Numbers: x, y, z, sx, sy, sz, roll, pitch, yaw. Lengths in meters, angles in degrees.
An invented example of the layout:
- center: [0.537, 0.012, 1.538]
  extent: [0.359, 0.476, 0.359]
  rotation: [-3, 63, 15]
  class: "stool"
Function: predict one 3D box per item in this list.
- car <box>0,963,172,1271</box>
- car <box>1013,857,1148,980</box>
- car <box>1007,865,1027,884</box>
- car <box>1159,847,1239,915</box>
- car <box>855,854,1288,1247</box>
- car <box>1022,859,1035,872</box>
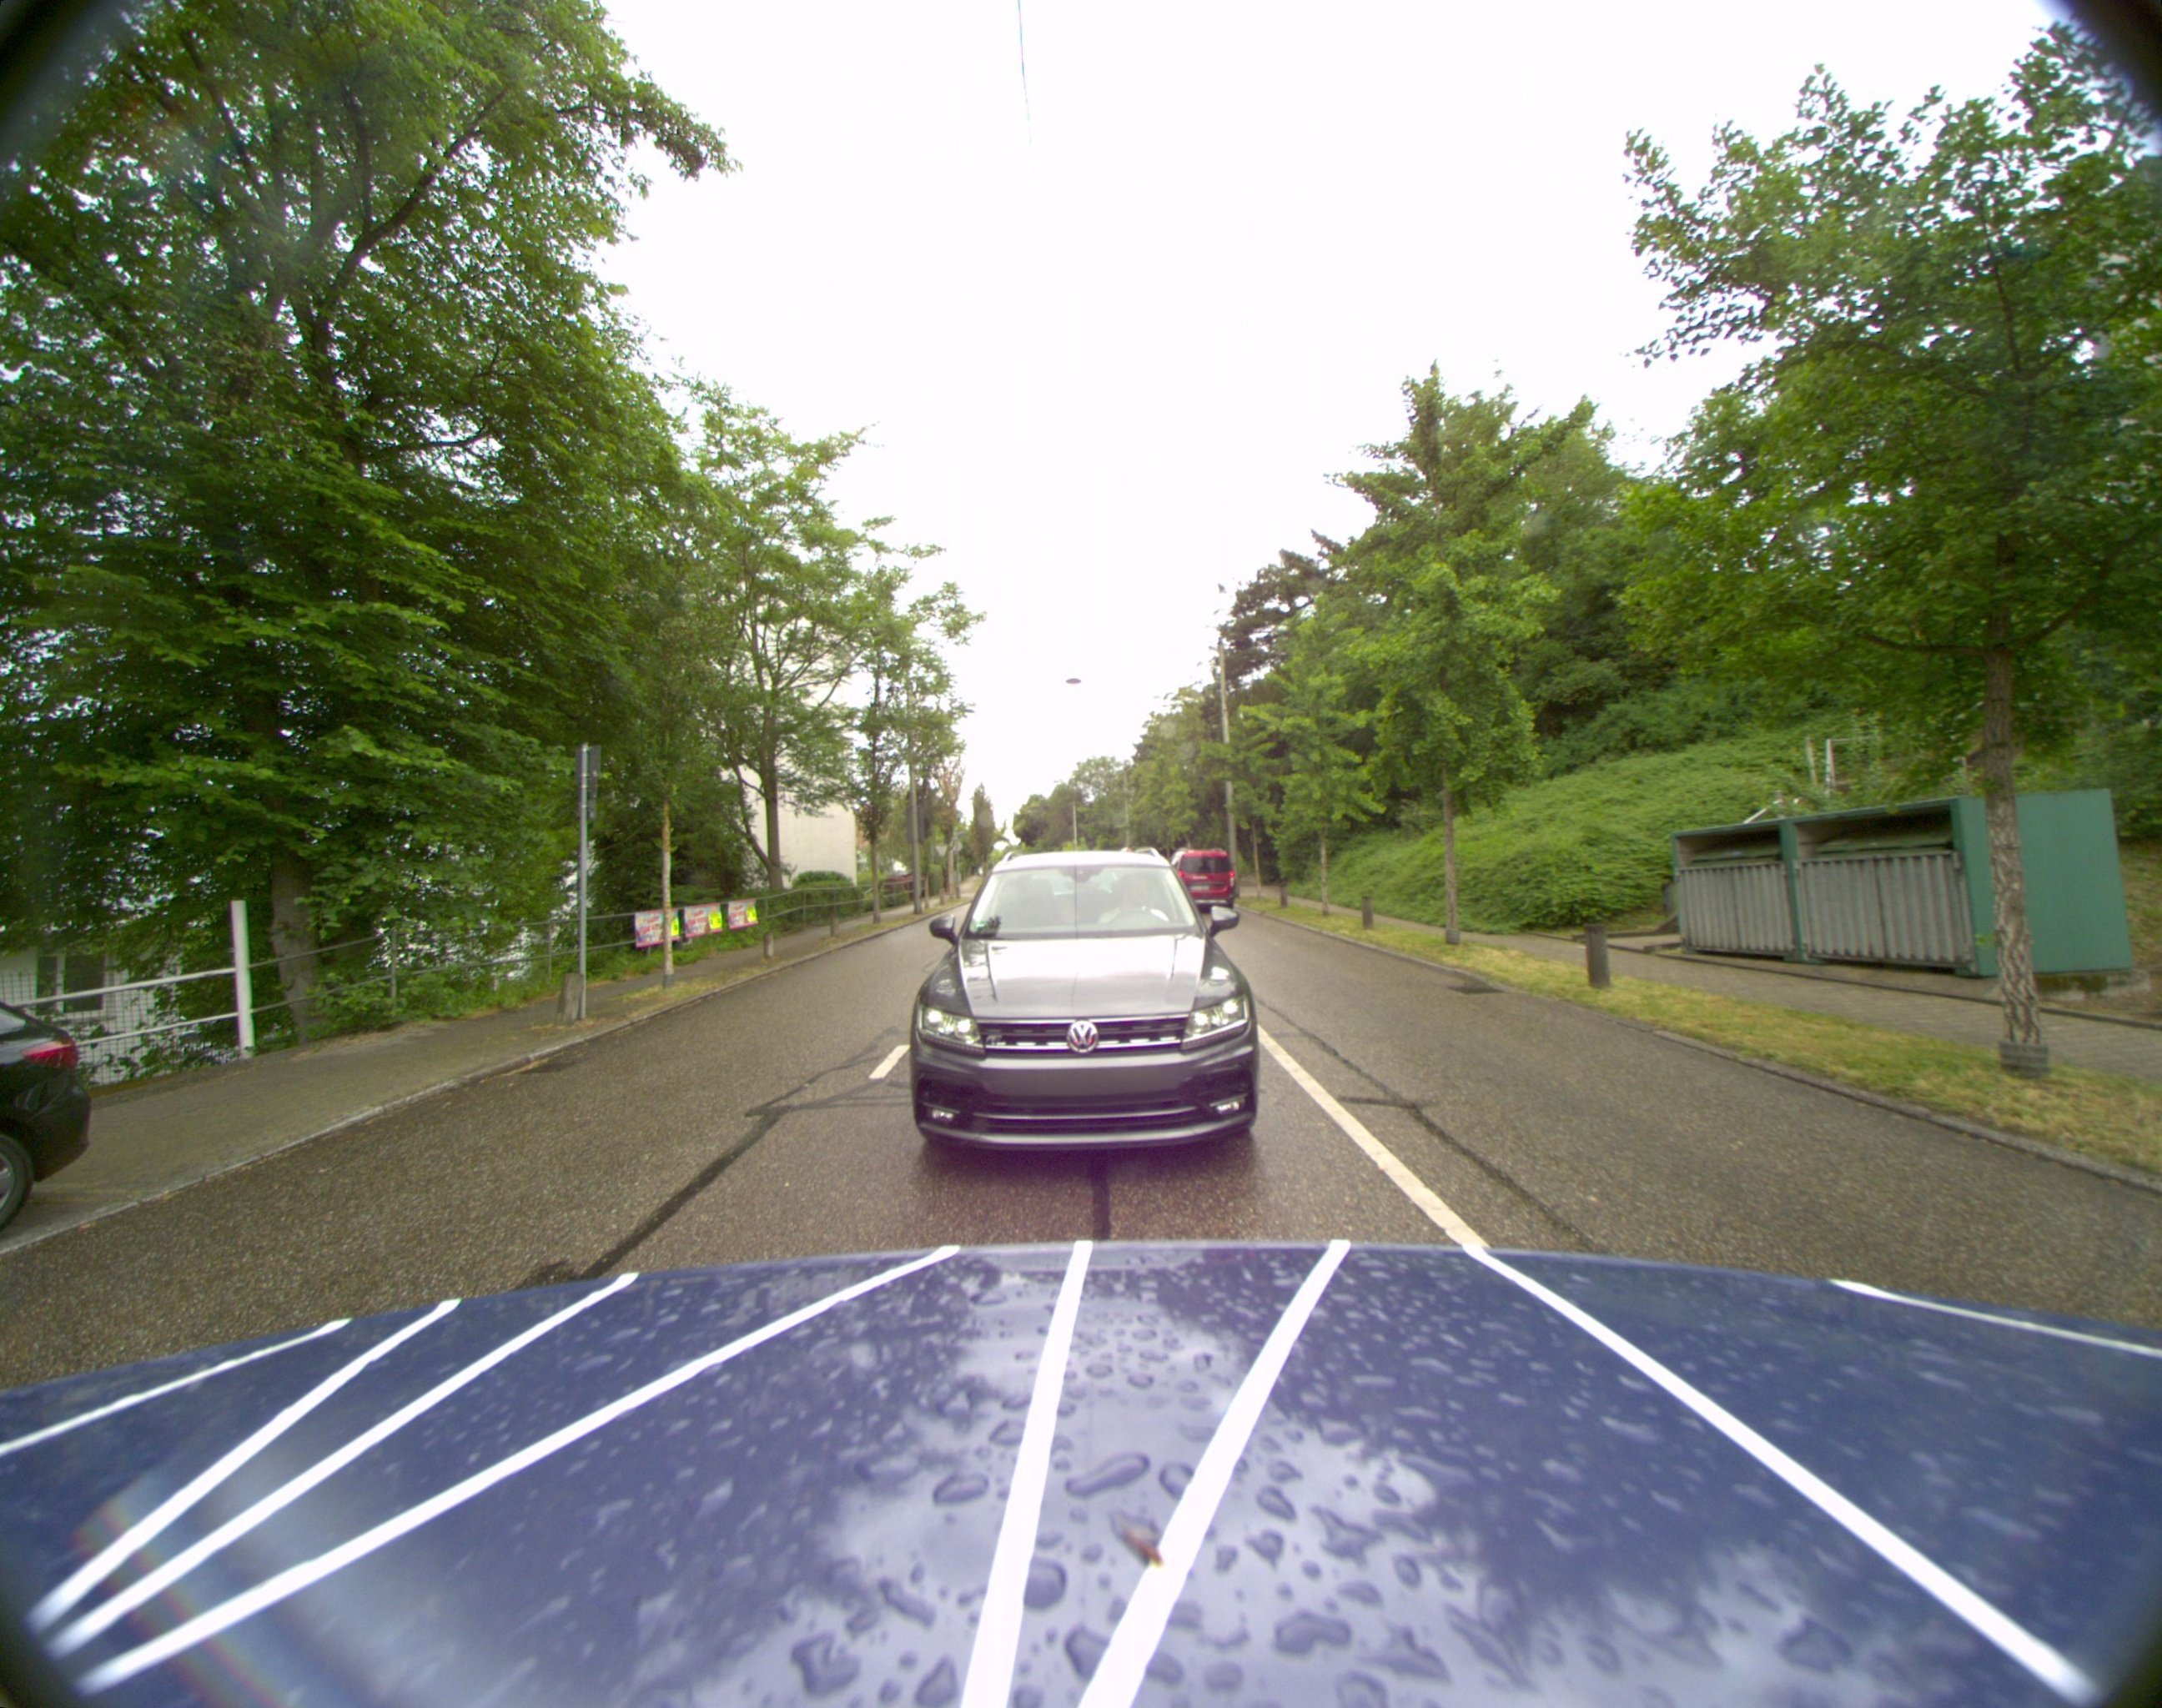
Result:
- center: [-6.339, 1.365, 2.241]
  extent: [1.999, 1.426, 4.442]
  rotation: [-1, 0, -1]
  class: "car"
- center: [0.023, 0.925, 12.966]
  extent: [1.834, 1.608, 4.350]
  rotation: [-3, 1, 1]
  class: "car"
- center: [-6.332, 2.024, 75.233]
  extent: [1.892, 1.710, 4.235]
  rotation: [-1, 1, -3]
  class: "car"
- center: [3.420, 0.723, 22.727]
  extent: [1.751, 1.817, 4.458]
  rotation: [-1, 1, 1]
  class: "car"
- center: [-0.011, 0.874, 5.500]
  extent: [1.834, 1.608, 4.292]
  rotation: [-3, 1, 1]
  class: "car"
- center: [-8.839, 1.871, 127.340]
  extent: [1.835, 2.003, 4.054]
  rotation: [-3, 1, -8]
  class: "car"
